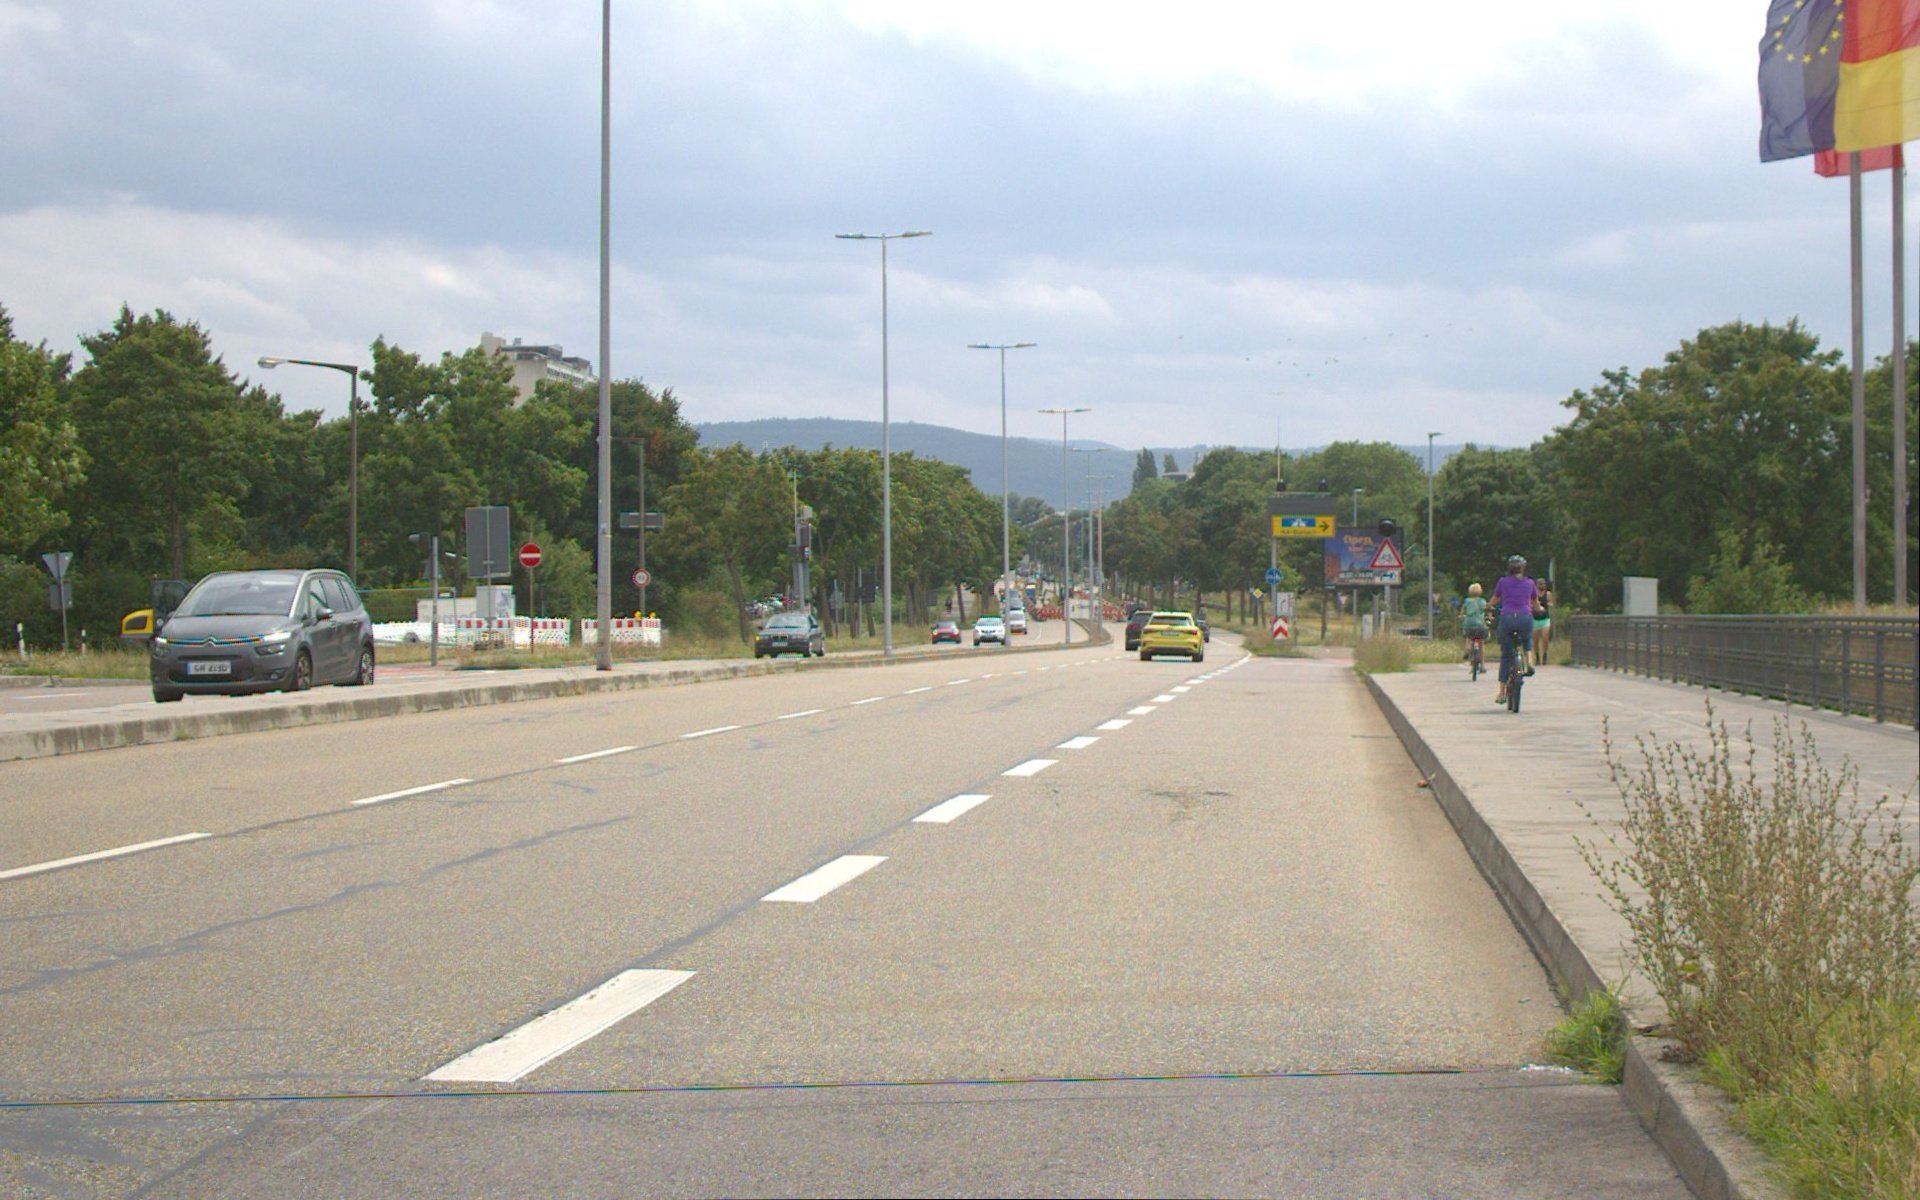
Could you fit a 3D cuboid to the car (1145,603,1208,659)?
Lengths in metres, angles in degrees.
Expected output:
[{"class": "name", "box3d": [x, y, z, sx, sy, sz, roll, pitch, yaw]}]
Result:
[{"class": "car", "box3d": [6.359, 0.885, 101.140, 1.793, 1.556, 4.000, 1, 1, 3]}]

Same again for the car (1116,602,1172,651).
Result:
[{"class": "car", "box3d": [7.499, 1.051, 140.310, 1.993, 1.908, 4.000, 1, 1, -1]}]

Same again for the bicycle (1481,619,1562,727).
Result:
[{"class": "bicycle", "box3d": [6.415, 0.816, 39.359, 0.693, 1.188, 2.461, 0, 0, 4]}]

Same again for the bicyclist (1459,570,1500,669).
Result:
[{"class": "bicyclist", "box3d": [8.770, 0.327, 58.041, 0.621, 1.660, 0.669, 1, 0, 4]}]

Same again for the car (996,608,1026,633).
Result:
[{"class": "car", "box3d": [3.838, 1.543, 257.320, 1.903, 1.803, 4.539, 1, 1, 5]}]

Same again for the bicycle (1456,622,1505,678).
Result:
[{"class": "bicycle", "box3d": [8.724, 0.834, 57.653, 0.623, 0.885, 2.154, 1, 1, 4]}]

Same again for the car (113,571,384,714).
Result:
[{"class": "car", "box3d": [-8.675, 0.469, 42.330, 1.994, 1.634, 4.661, 1, 1, 5]}]

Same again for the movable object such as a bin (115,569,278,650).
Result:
[{"class": "movable object such as a bin", "box3d": [-23.166, 0.286, 104.479, 4.577, 2.389, 2.000, 1, 0, -5]}]

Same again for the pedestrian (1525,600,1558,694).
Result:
[{"class": "pedestrian", "box3d": [12.572, 1.013, 74.337, 0.627, 2.007, 0.668, 1, 0, 6]}]

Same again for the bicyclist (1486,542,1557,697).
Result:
[{"class": "bicyclist", "box3d": [6.421, 0.223, 39.378, 0.703, 1.749, 0.991, 0, 0, 4]}]

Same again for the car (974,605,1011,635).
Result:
[{"class": "car", "box3d": [1.864, 1.130, 198.201, 1.695, 1.623, 4.383, 1, 1, 6]}]

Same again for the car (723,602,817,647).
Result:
[{"class": "car", "box3d": [-5.961, 0.792, 108.411, 1.994, 1.369, 4.575, -1, -1, 9]}]

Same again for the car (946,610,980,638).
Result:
[{"class": "car", "box3d": [0.166, 1.541, 218.793, 1.993, 1.687, 4.000, 3, -1, -1]}]
